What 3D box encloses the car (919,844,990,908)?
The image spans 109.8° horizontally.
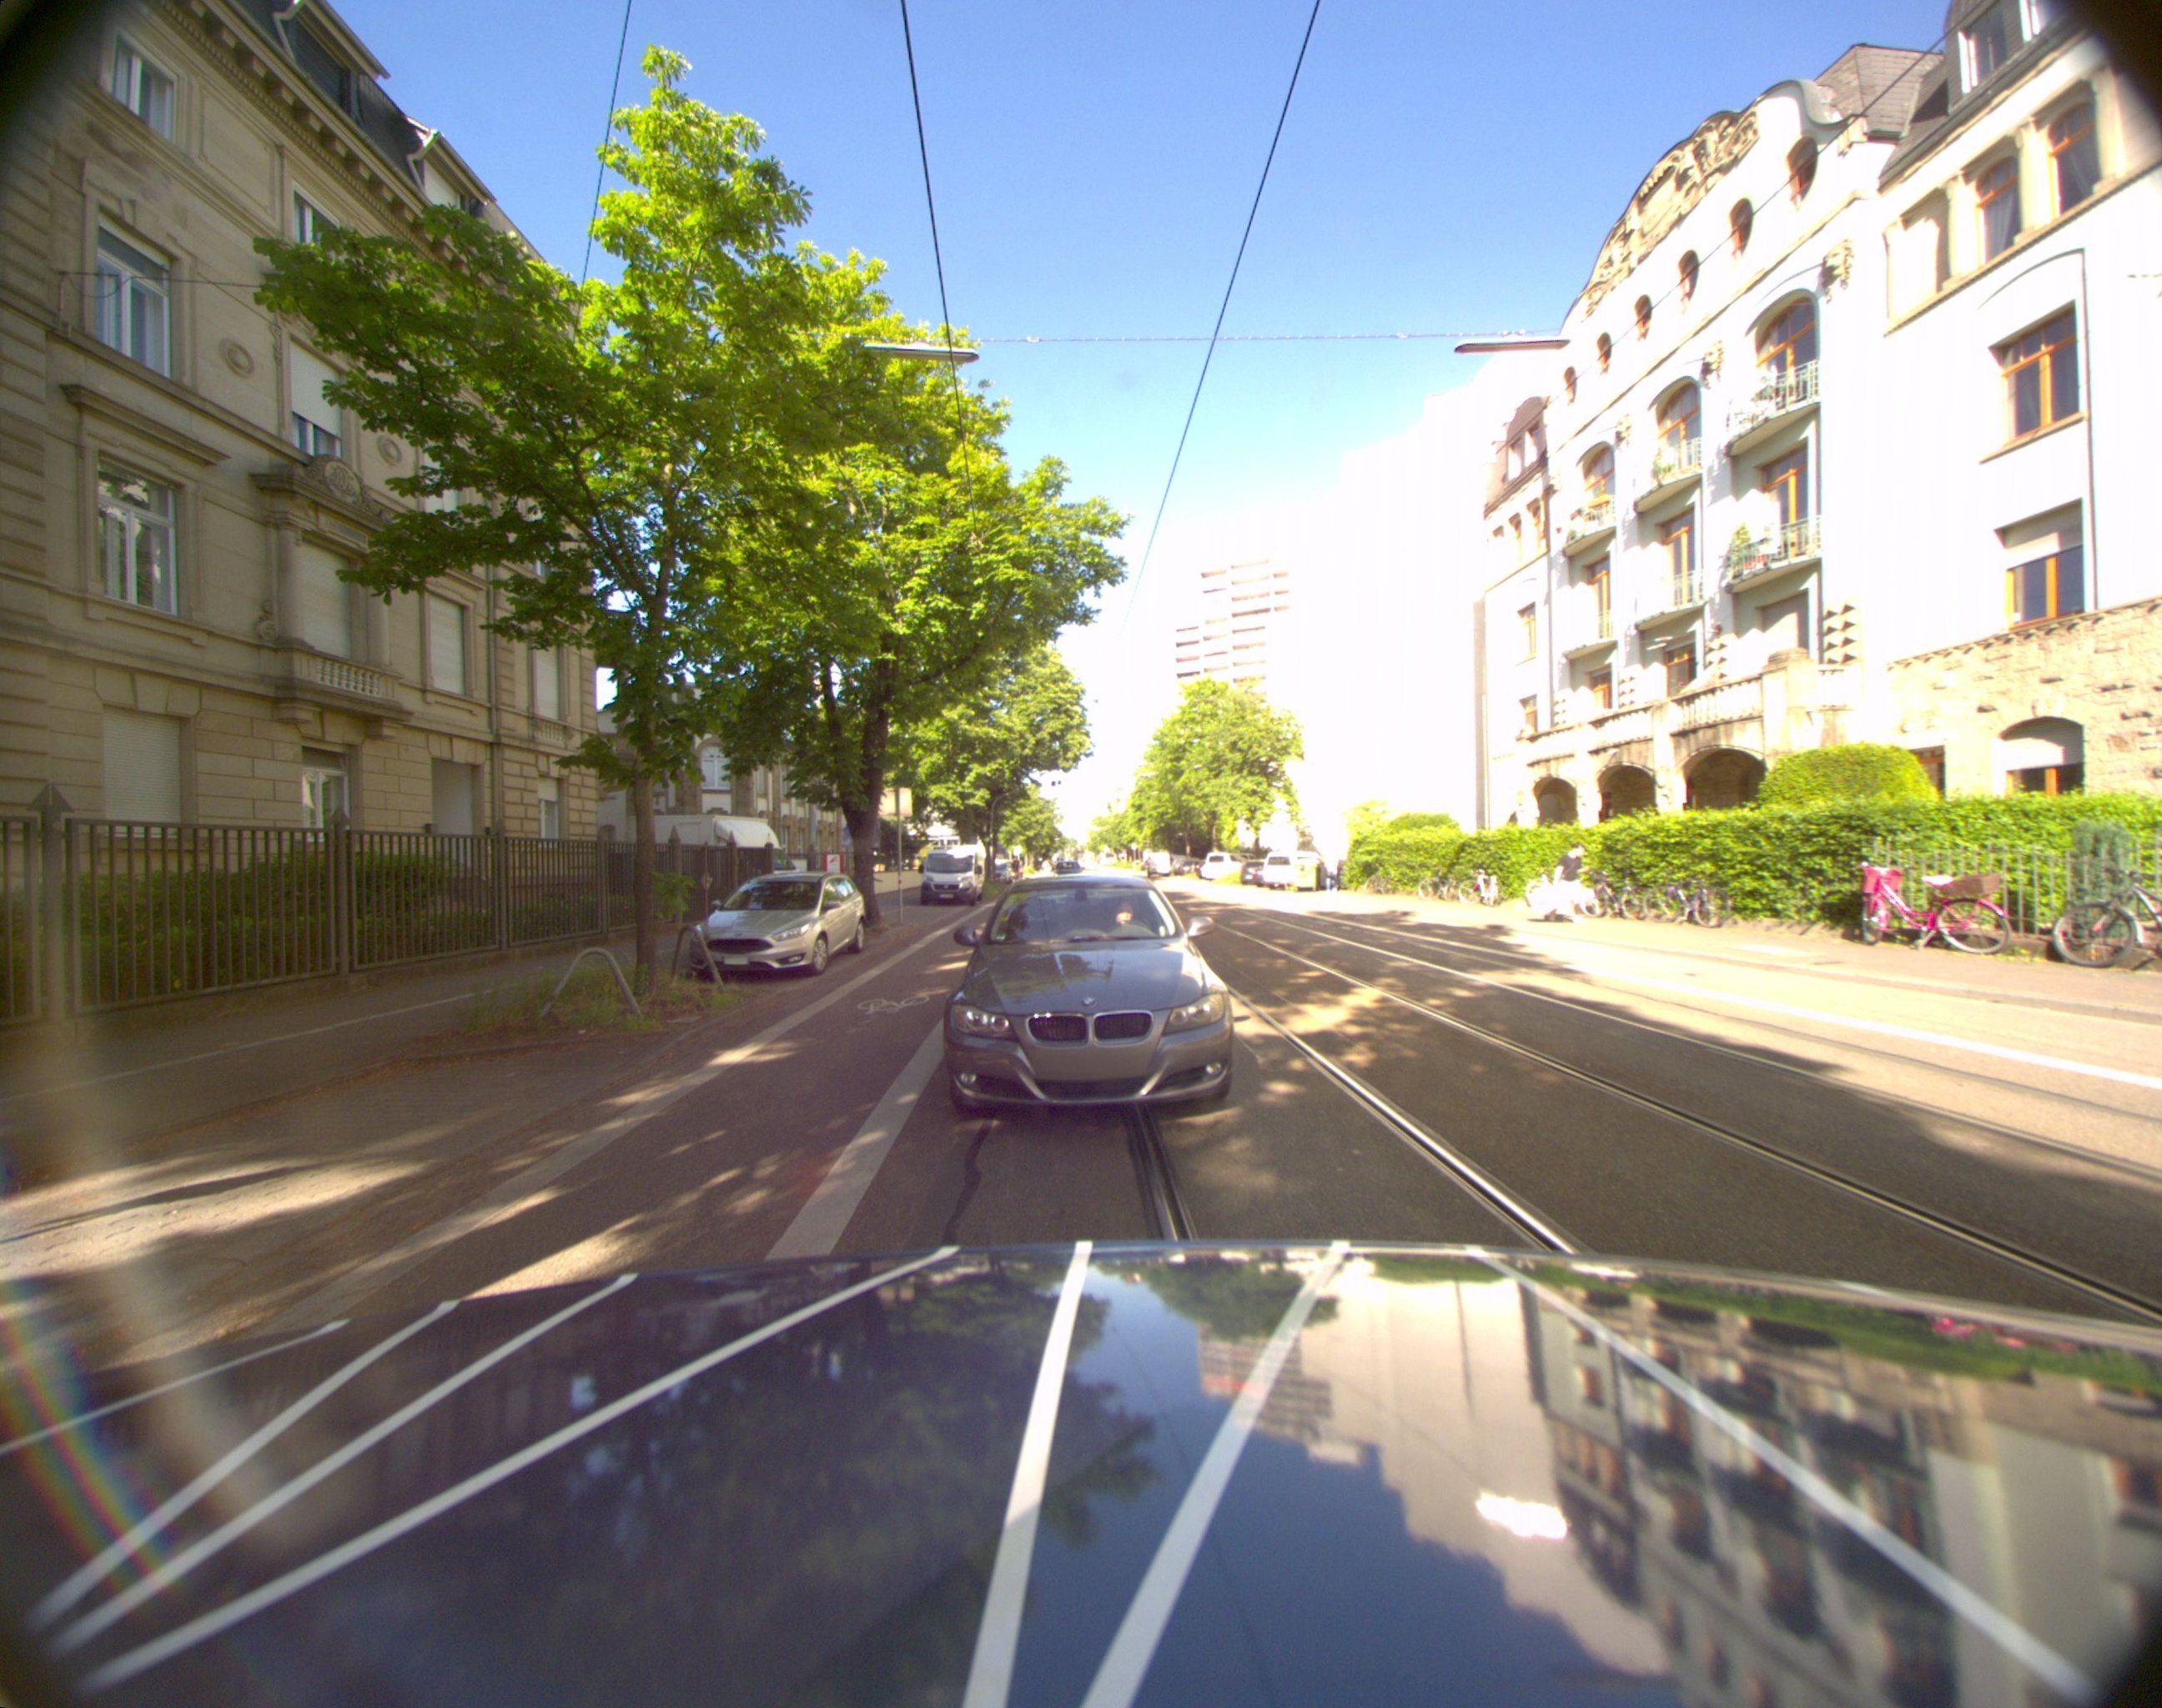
[{"bbox_3d":[-4.978,0.773,30.784,2.132,2.329,5.803,0,1,-3],"label":"car"}]

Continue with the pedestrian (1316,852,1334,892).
[{"bbox_3d":[10.039,0.737,31.270,0.475,1.619,0.659,-2,1,1],"label":"pedestrian"}]

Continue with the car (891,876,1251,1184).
[{"bbox_3d":[-0.025,1.001,6.051,1.869,1.426,3.999,-2,1,1],"label":"car"}]

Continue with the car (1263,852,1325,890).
[{"bbox_3d":[10.297,0.810,36.649,3.194,1.763,1.456,1,-2,-45],"label":"car"}]

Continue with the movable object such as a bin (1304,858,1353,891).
[{"bbox_3d":[11.116,0.901,34.213,1.501,1.309,2.096,-2,1,1],"label":"movable object such as a bin"}]

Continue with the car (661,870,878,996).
[{"bbox_3d":[-4.709,1.093,12.272,1.877,1.534,4.364,0,1,-3],"label":"car"}]

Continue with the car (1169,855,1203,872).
[{"bbox_3d":[9.669,0.850,69.900,2.757,1.417,1.226,-2,1,-16],"label":"car"}]

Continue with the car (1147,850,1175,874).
[{"bbox_3d":[6.960,0.627,65.487,1.997,1.893,4.003,-2,1,11],"label":"car"}]

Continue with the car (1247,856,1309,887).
[{"bbox_3d":[10.267,0.891,39.660,2.757,1.427,1.458,-2,1,-16],"label":"car"}]

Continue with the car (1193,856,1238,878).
[{"bbox_3d":[9.473,0.908,53.547,2.757,1.427,1.458,-2,1,-16],"label":"car"}]

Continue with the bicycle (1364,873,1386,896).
[{"bbox_3d":[10.632,1.099,27.458,0.297,0.757,1.263,-2,1,1],"label":"bicycle"}]

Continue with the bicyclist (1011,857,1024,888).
[{"bbox_3d":[-3.401,0.984,40.980,0.532,1.660,0.878,-2,1,1],"label":"bicyclist"}]

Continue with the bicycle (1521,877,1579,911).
[{"bbox_3d":[11.791,1.001,19.106,1.262,0.789,0.297,-2,1,1],"label":"bicycle"}]

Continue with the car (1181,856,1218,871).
[{"bbox_3d":[9.766,0.802,62.699,2.757,1.083,1.226,-2,1,-16],"label":"car"}]

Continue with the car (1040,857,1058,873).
[{"bbox_3d":[-3.562,1.162,83.637,1.866,1.646,4.101,-2,1,-3],"label":"car"}]

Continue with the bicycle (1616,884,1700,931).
[{"bbox_3d":[10.916,0.997,14.429,0.405,0.757,1.581,-2,1,1],"label":"bicycle"}]

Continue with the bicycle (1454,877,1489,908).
[{"bbox_3d":[10.742,1.056,20.914,0.318,0.757,1.263,-2,1,1],"label":"bicycle"}]

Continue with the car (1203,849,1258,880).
[{"bbox_3d":[9.900,0.681,50.118,3.450,1.860,1.918,-3,1,-44],"label":"car"}]

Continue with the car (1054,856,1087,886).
[{"bbox_3d":[-0.588,0.994,45.585,1.828,1.559,3.999,-2,1,1],"label":"car"}]

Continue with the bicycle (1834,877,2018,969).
[{"bbox_3d":[11.011,0.855,10.001,0.405,1.018,1.816,-2,1,1],"label":"bicycle"}]

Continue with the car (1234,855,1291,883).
[{"bbox_3d":[10.264,0.854,43.027,2.757,1.427,1.458,-2,1,-16],"label":"car"}]

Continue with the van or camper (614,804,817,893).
[{"bbox_3d":[-12.165,-0.136,25.190,6.721,2.612,2.126,-2,1,24],"label":"van or camper"}]

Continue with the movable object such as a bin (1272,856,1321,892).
[{"bbox_3d":[9.402,0.846,33.244,1.512,1.424,2.096,-2,1,1],"label":"movable object such as a bin"}]

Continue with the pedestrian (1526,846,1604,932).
[{"bbox_3d":[9.749,0.685,15.340,0.869,1.619,0.870,-6,1,1],"label":"pedestrian"}]

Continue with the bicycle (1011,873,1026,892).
[{"bbox_3d":[-3.381,1.509,41.058,0.535,0.917,2.057,-2,1,1],"label":"bicycle"}]

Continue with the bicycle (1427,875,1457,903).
[{"bbox_3d":[10.764,1.035,22.705,0.297,0.757,1.263,-2,1,1],"label":"bicycle"}]

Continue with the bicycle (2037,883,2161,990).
[{"bbox_3d":[11.077,0.858,7.736,0.405,1.018,1.816,-2,1,1],"label":"bicycle"}]

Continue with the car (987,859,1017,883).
[{"bbox_3d":[-5.535,1.186,53.764,1.866,1.541,4.101,-2,1,-3],"label":"car"}]

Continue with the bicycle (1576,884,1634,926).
[{"bbox_3d":[10.973,1.056,15.934,0.339,0.757,1.263,-2,1,1],"label":"bicycle"}]
